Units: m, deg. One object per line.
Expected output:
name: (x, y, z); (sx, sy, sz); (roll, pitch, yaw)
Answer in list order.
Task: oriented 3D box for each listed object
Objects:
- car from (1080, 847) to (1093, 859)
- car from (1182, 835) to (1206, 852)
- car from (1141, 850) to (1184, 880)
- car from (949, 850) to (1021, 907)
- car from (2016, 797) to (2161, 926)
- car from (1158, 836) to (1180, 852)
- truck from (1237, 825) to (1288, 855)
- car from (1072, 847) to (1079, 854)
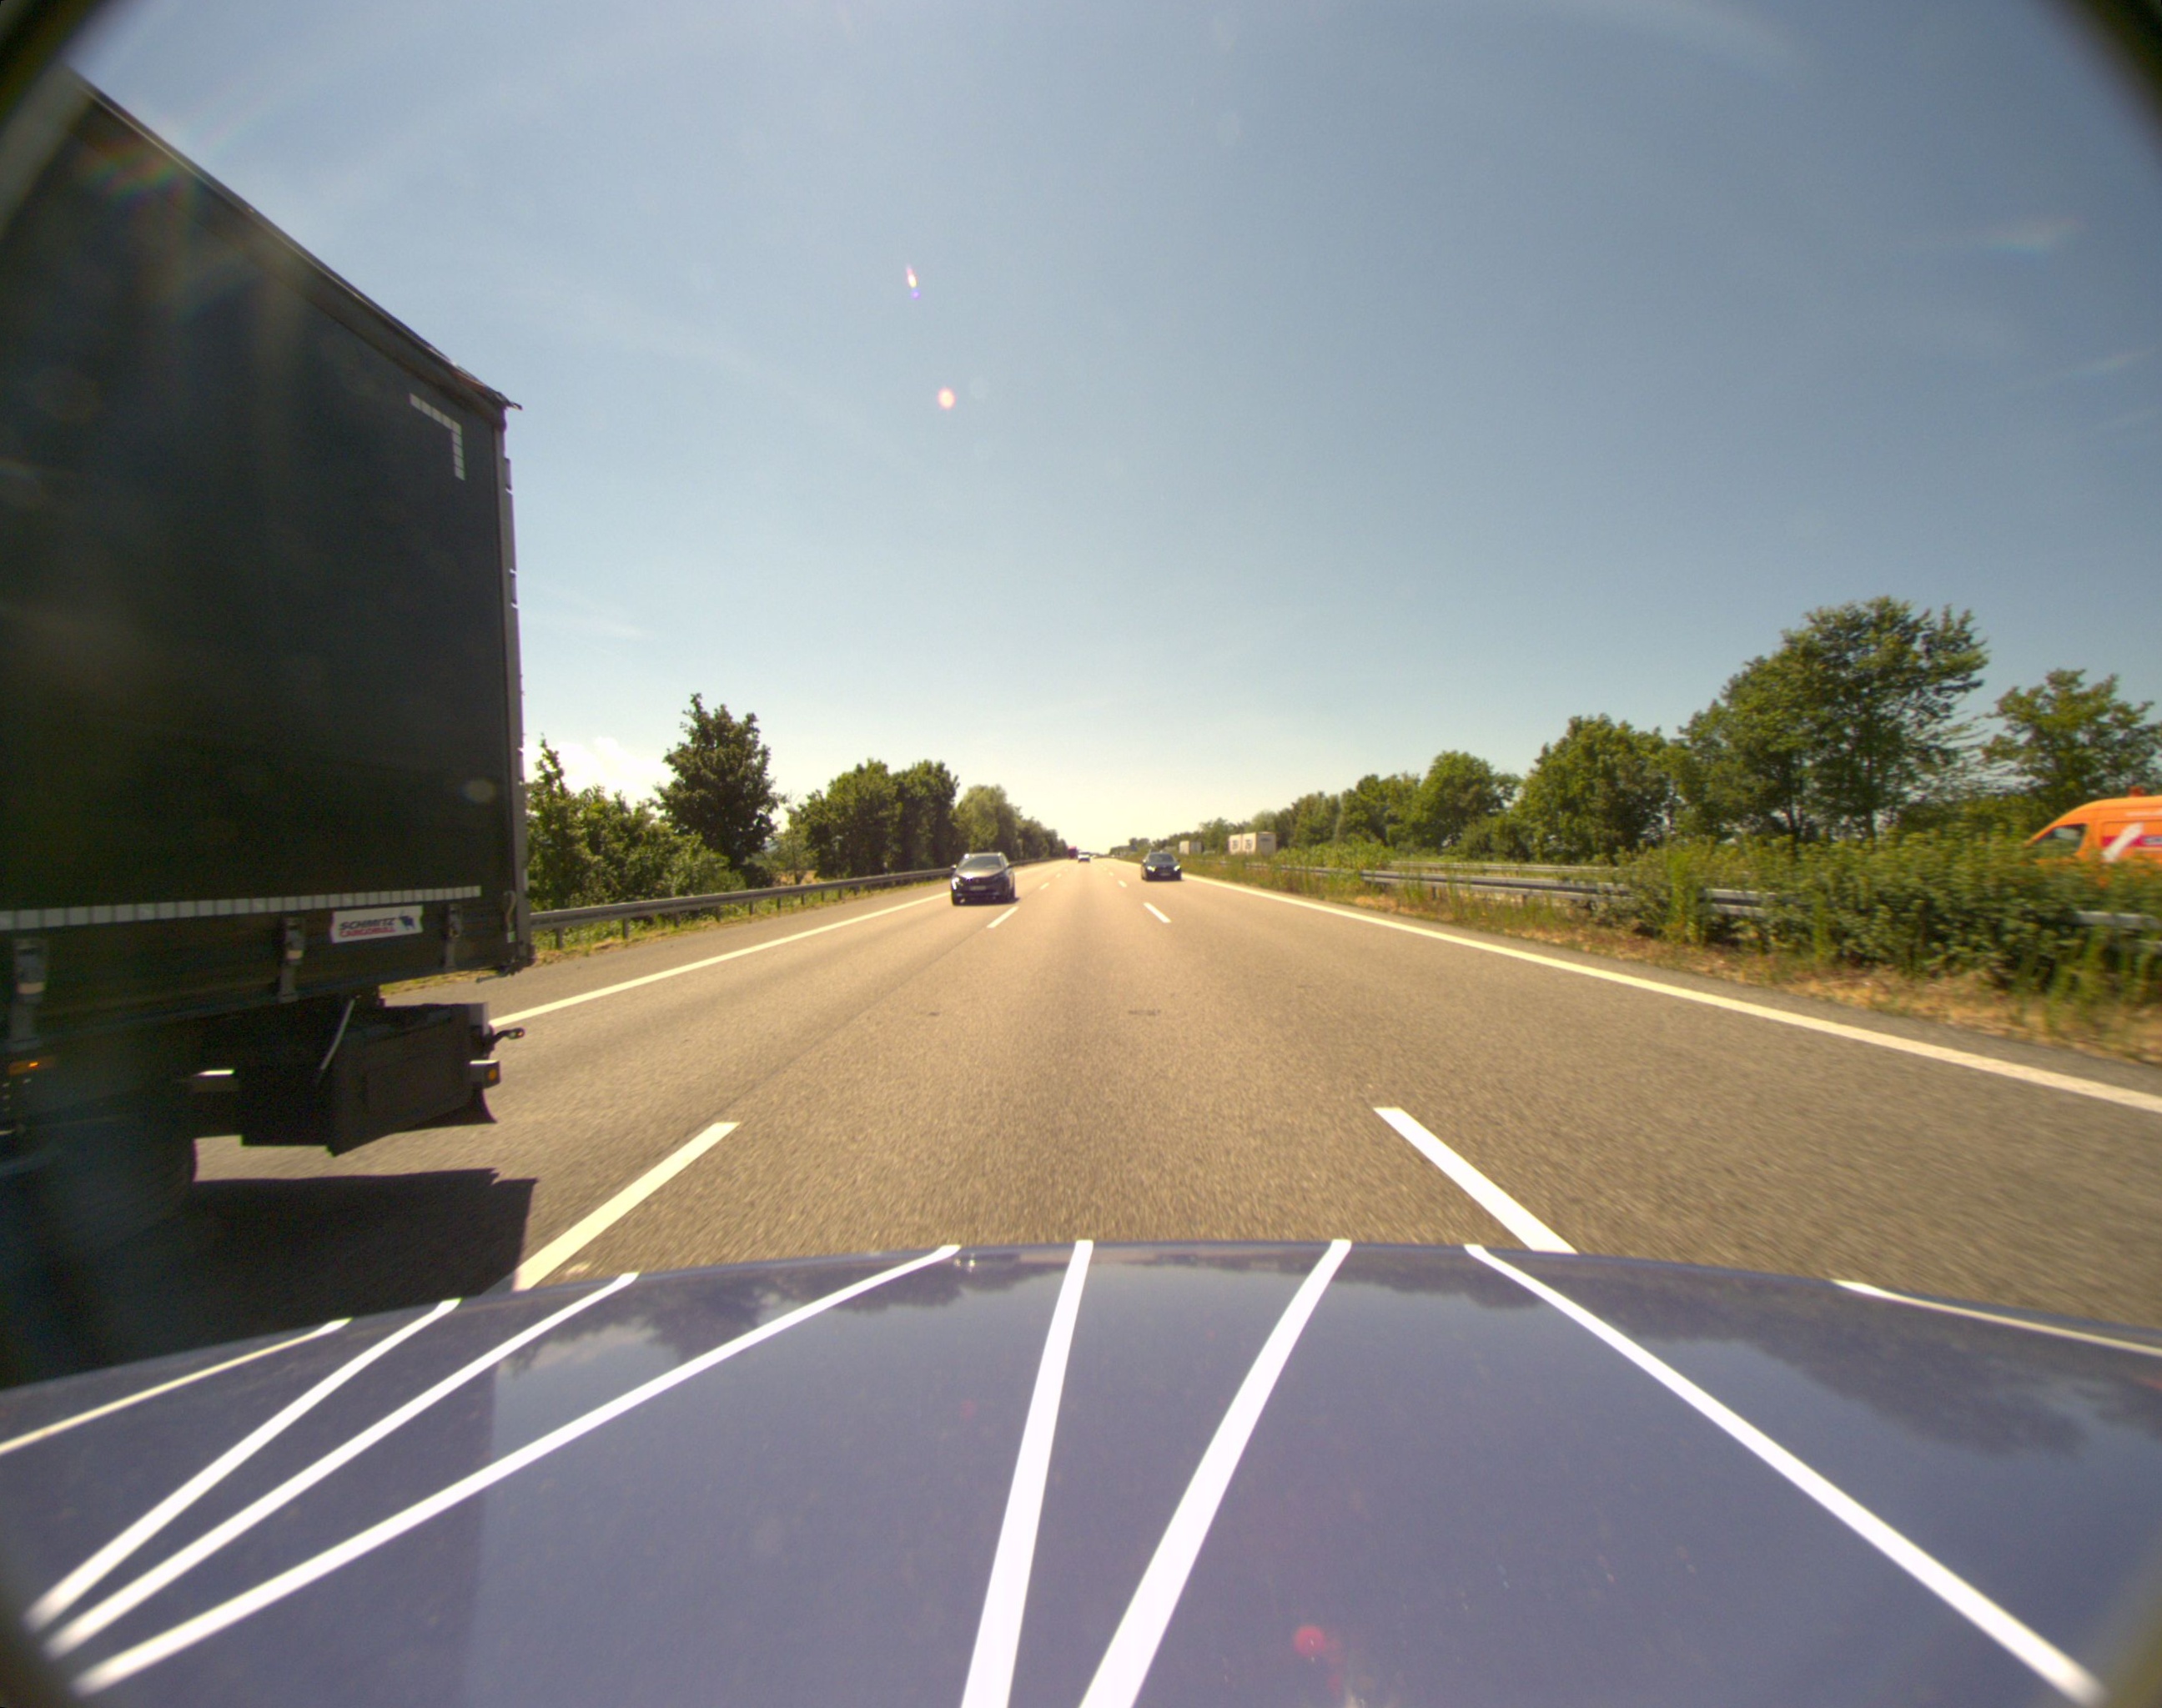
car: (0.955, -0.183, 129.186); (2.147, 1.810, 5.267); (-2, 0, 1)
car: (23.063, -2.174, 155.435); (3.516, 3.274, 8.513); (-2, 1, -1)
car: (4.153, 0.521, 39.205); (1.796, 1.403, 4.052); (-2, 0, 1)
car: (-3.140, 0.755, 25.636); (1.796, 1.696, 4.000); (-2, 1, 1)
car: (21.363, 0.116, 14.004); (2.187, 2.423, 4.955); (-2, 1, 1)
car: (18.724, -2.085, 162.431); (3.516, 3.274, 8.513); (-2, 1, -1)
truck: (23.202, -1.774, 97.918); (4.122, 3.418, 10.688); (-2, 1, 1)
car: (-1.689, -0.963, 222.014); (1.998, 2.002, 4.000); (-2, 1, 1)
